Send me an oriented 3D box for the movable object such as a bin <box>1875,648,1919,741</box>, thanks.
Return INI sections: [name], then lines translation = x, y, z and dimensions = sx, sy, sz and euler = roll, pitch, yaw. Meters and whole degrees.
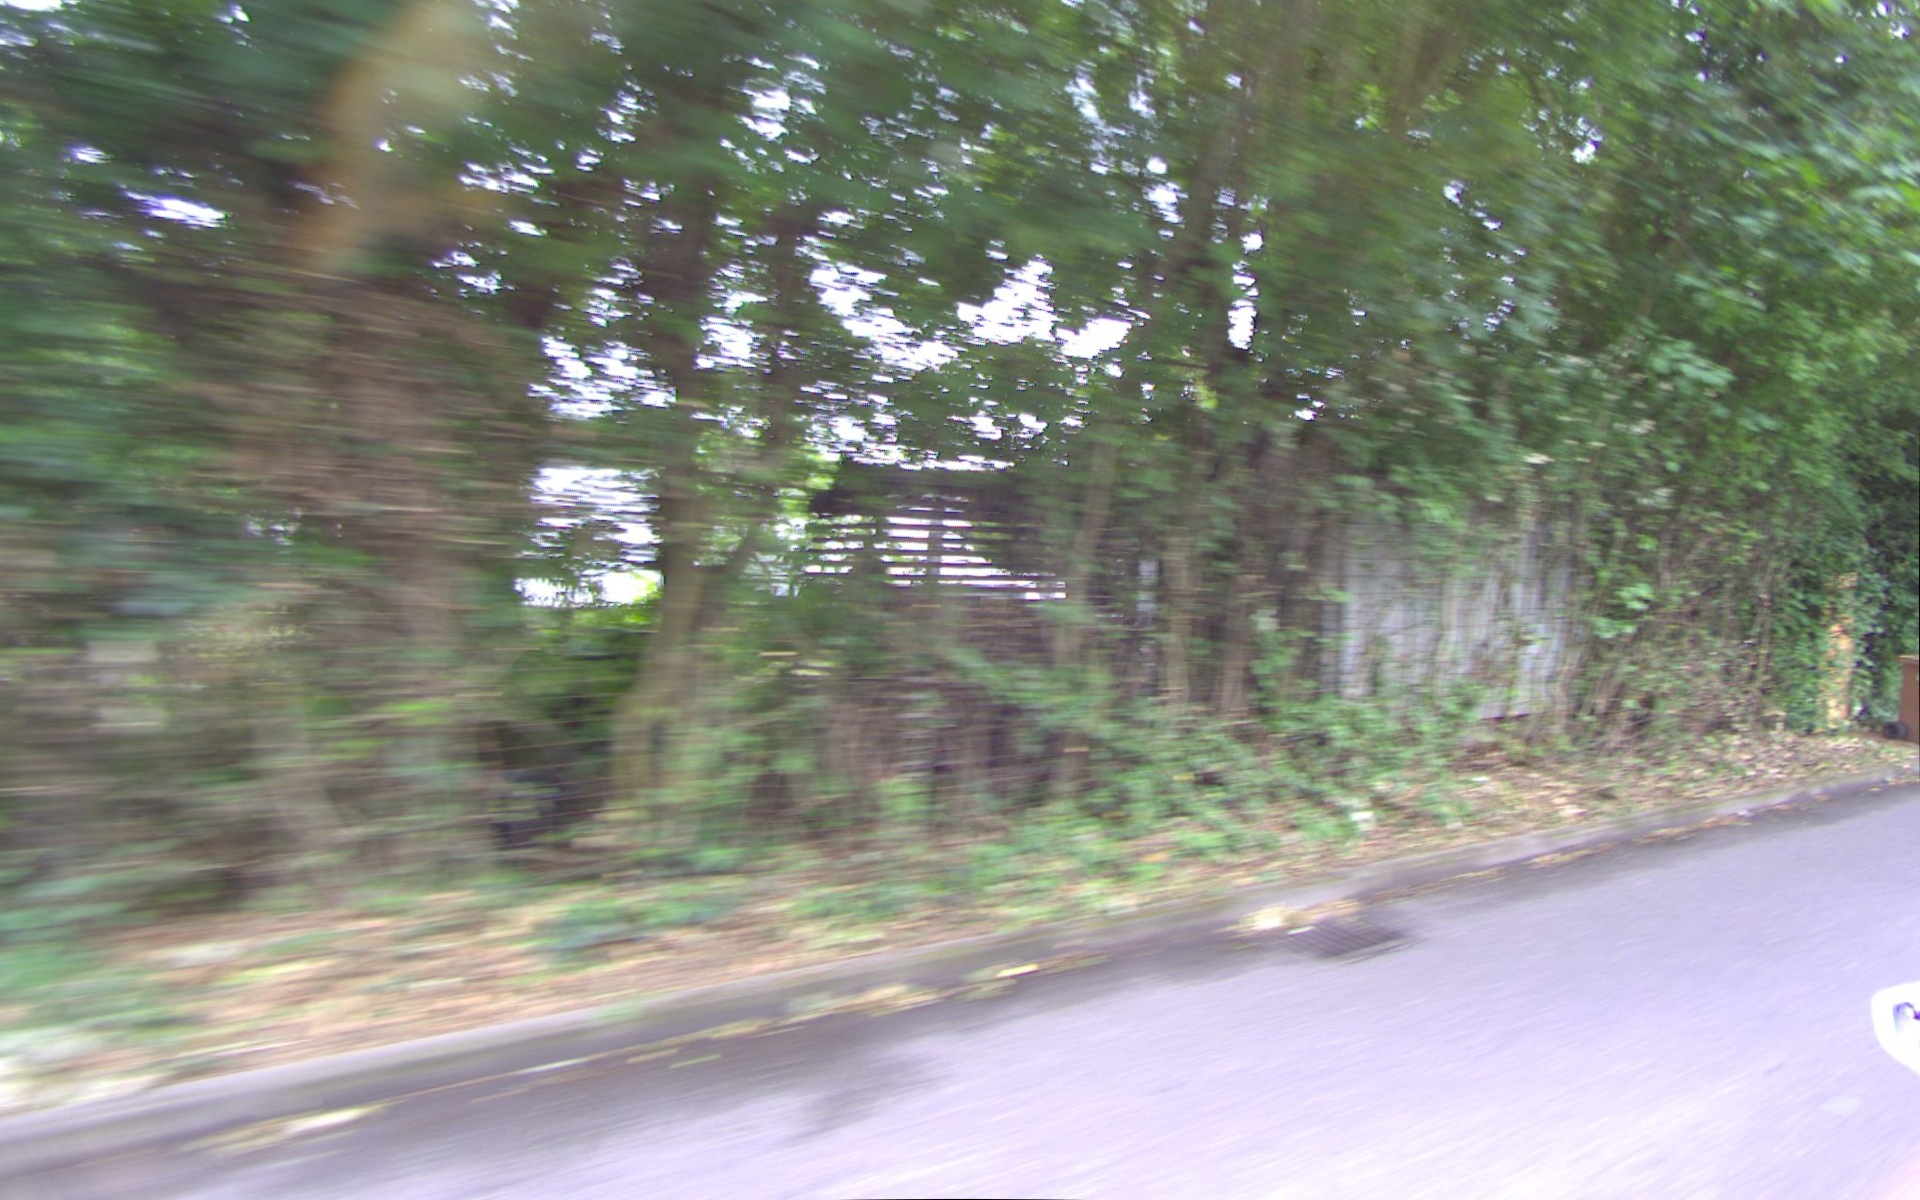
[movable object such as a bin]
translation = 10.392, 1.026, 10.865
dimensions = 0.464, 0.970, 0.587
euler = 2, 1, -30
